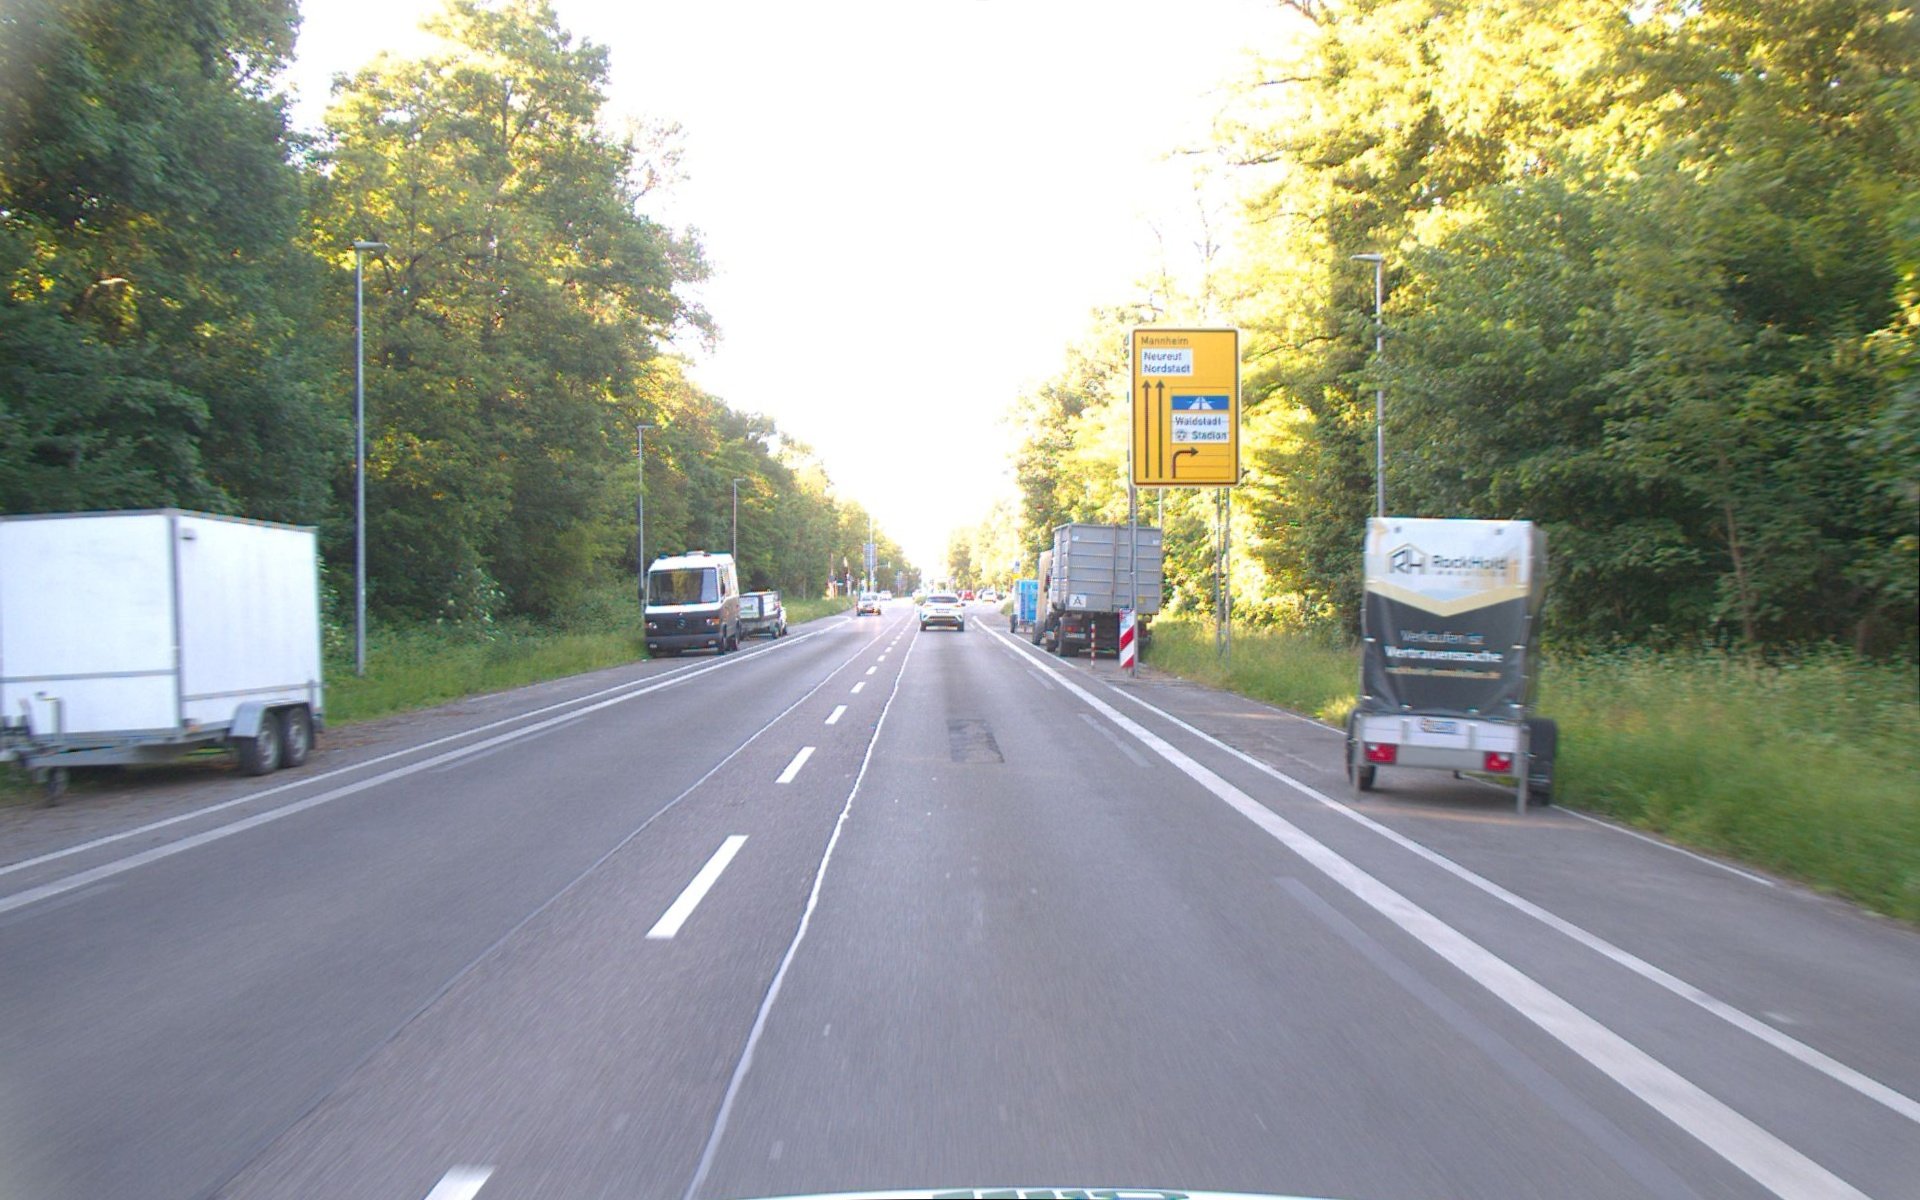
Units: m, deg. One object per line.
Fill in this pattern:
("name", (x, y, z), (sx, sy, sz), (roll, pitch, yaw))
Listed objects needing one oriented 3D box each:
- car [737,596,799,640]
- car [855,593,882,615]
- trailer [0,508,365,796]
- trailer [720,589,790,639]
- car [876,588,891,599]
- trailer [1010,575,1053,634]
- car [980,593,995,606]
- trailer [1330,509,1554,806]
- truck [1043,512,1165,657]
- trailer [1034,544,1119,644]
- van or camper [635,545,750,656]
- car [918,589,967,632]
("car", (-7.352, 0.668, 63.731), (1.830, 1.489, 4.132), (-3, 0, 0))
("car", (-6.241, 0.286, 112.781), (1.644, 1.440, 4.000), (-1, 0, 0))
("trailer", (-7.215, 0.425, 15.367), (2.032, 2.333, 3.487), (-1, 0, 1))
("trailer", (-7.325, 0.487, 59.343), (1.439, 1.688, 3.368), (-2, 0, 12))
("car", (-11.229, -0.925, 242.685), (1.953, 1.489, 3.999), (1, 0, -1))
("trailer", (2.846, 0.157, 66.476), (1.469, 2.274, 4.549), (1, 0, 0))
("car", (3.653, -0.071, 220.166), (1.953, 1.646, 4.000), (1, 0, 0))
("trailer", (3.948, 0.405, 13.364), (1.580, 2.149, 2.397), (0, 0, 20))
("truck", (3.610, -0.365, 42.891), (2.454, 3.425, 7.106), (1, 0, 0))
("trailer", (3.550, -0.190, 51.253), (2.226, 2.894, 5.207), (1, 0, 0))
("van or camper", (-7.372, -0.007, 46.189), (2.255, 2.816, 5.556), (-3, 0, -1))
("car", (-0.721, 0.402, 67.919), (1.953, 1.668, 3.999), (-1, 0, -1))
